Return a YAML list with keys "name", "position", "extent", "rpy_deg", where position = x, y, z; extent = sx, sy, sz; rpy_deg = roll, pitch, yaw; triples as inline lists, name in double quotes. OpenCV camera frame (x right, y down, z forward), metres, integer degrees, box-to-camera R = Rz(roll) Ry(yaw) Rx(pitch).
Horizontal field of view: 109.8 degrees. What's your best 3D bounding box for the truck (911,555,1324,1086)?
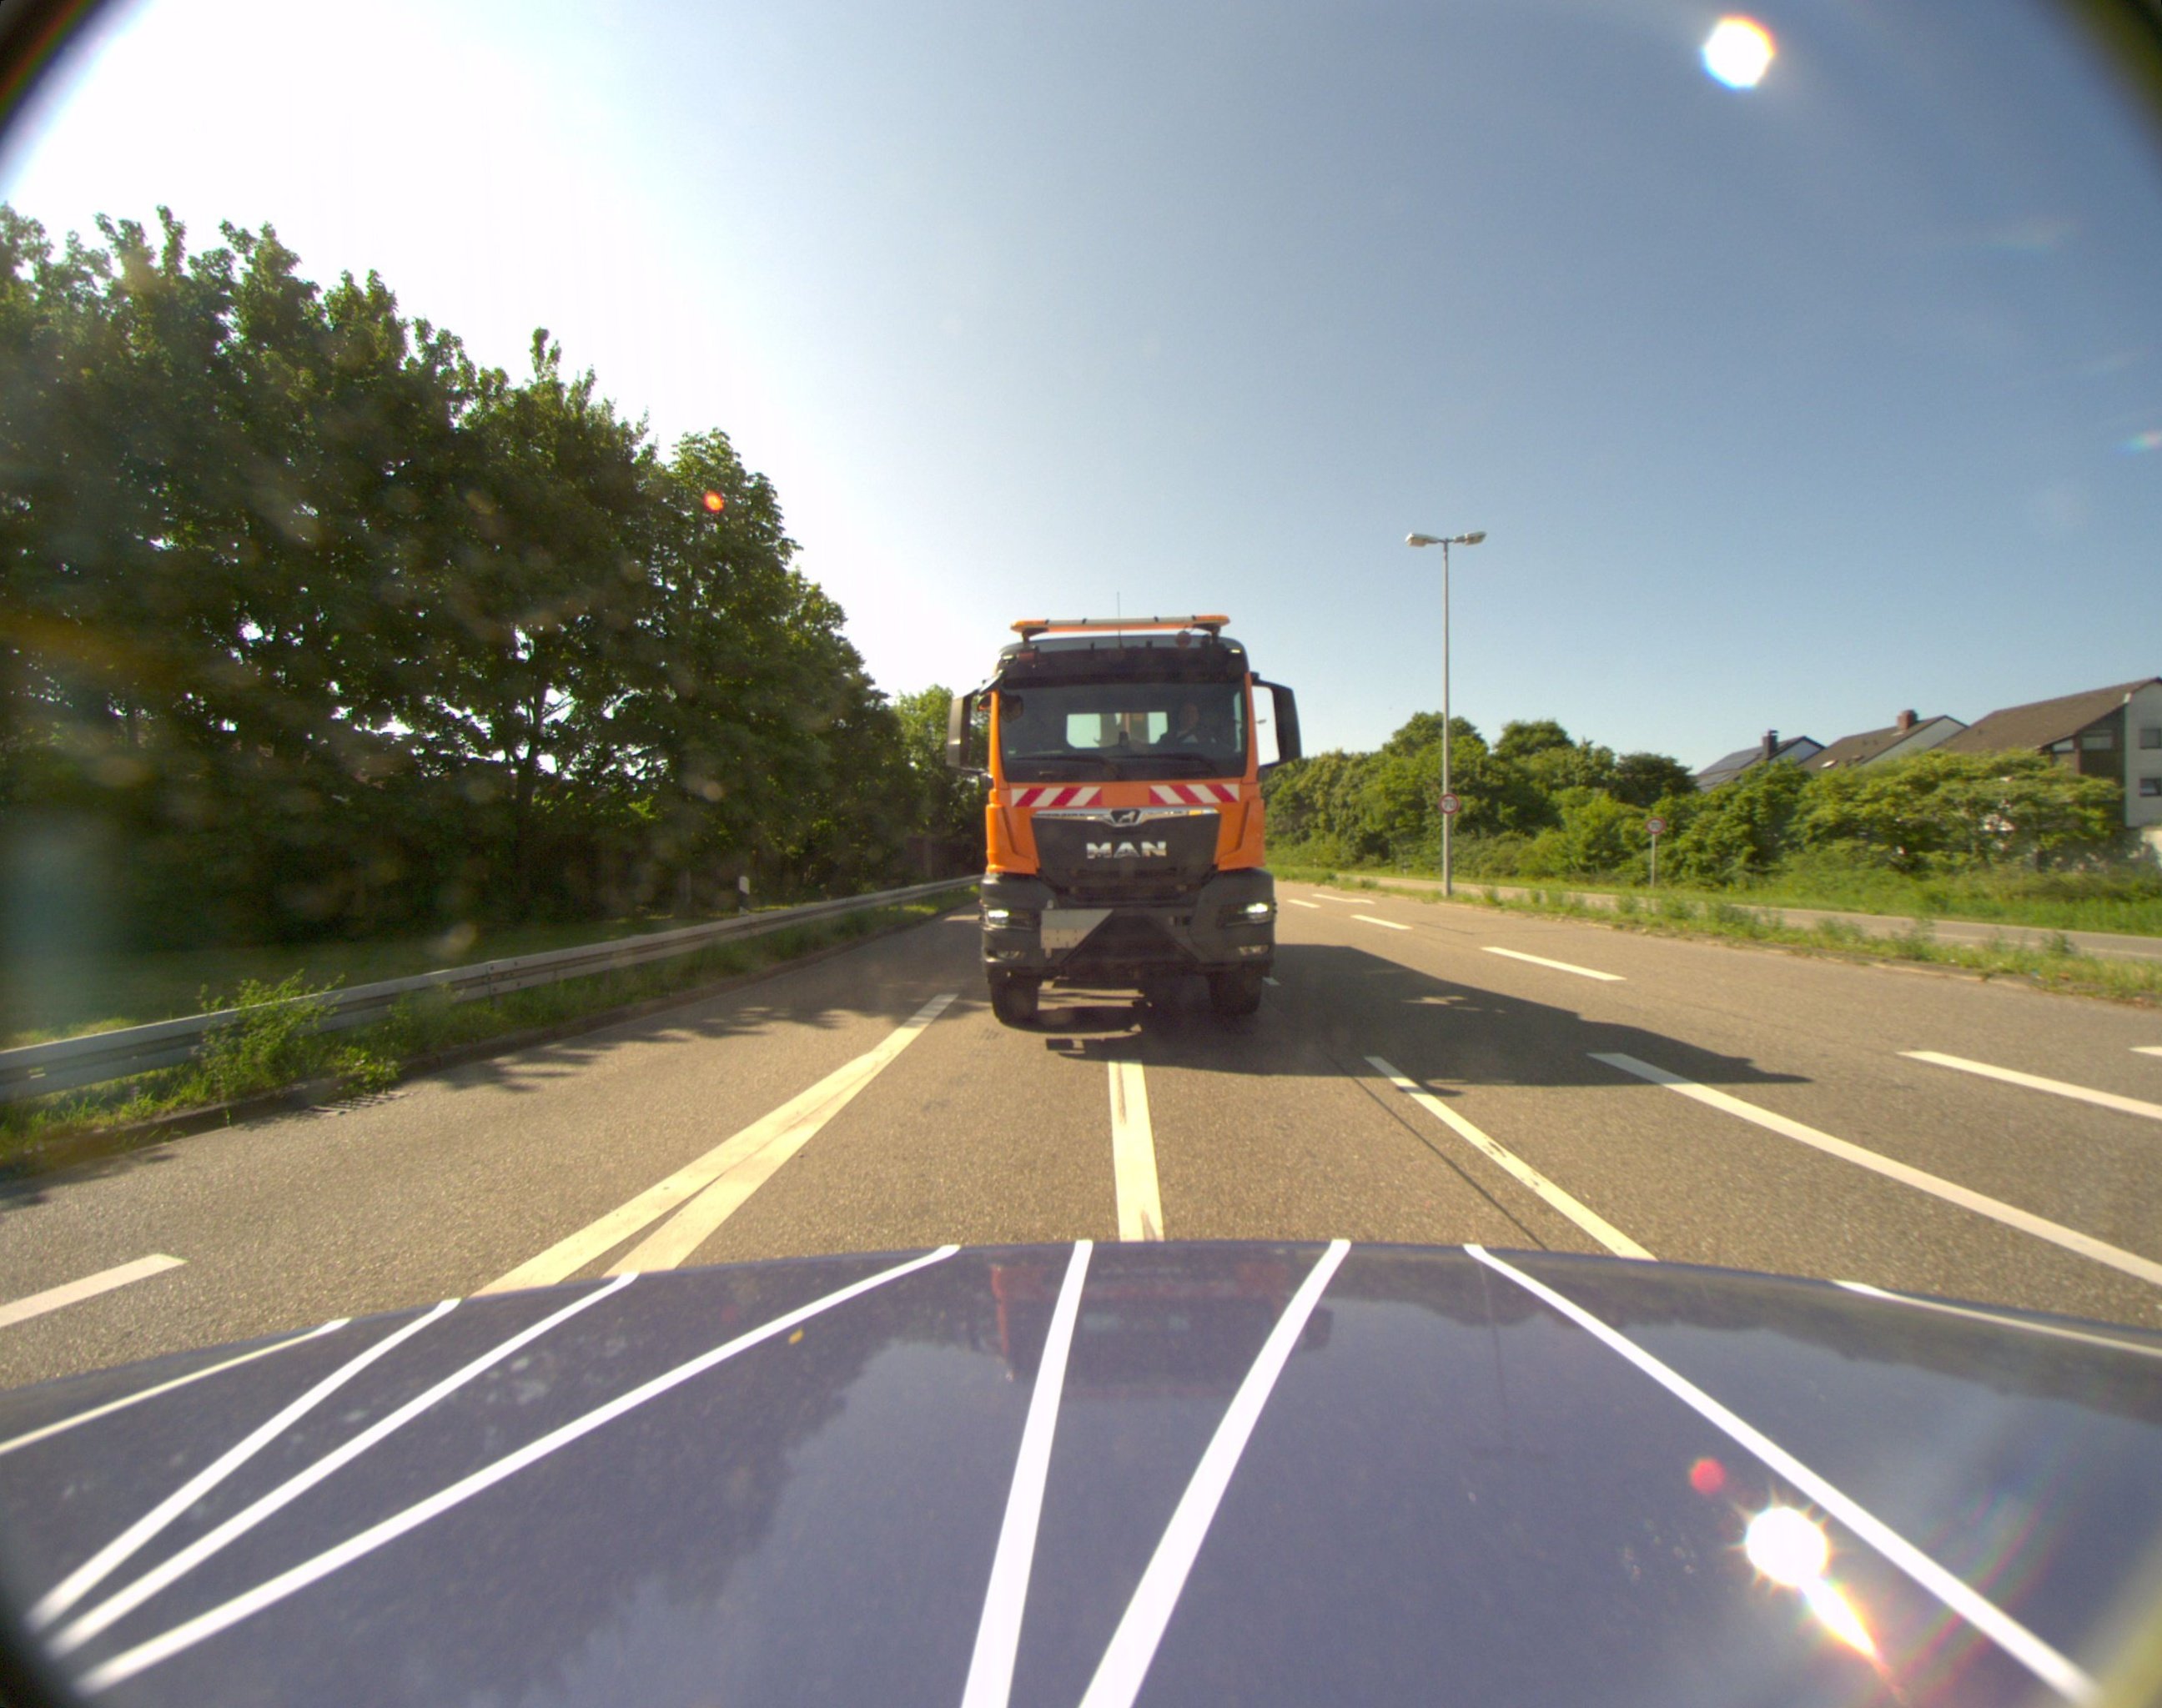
- name: "truck"
  position: [0.416, -0.257, 8.970]
  extent: [2.940, 3.852, 6.591]
  rpy_deg: [-2, 1, 3]
